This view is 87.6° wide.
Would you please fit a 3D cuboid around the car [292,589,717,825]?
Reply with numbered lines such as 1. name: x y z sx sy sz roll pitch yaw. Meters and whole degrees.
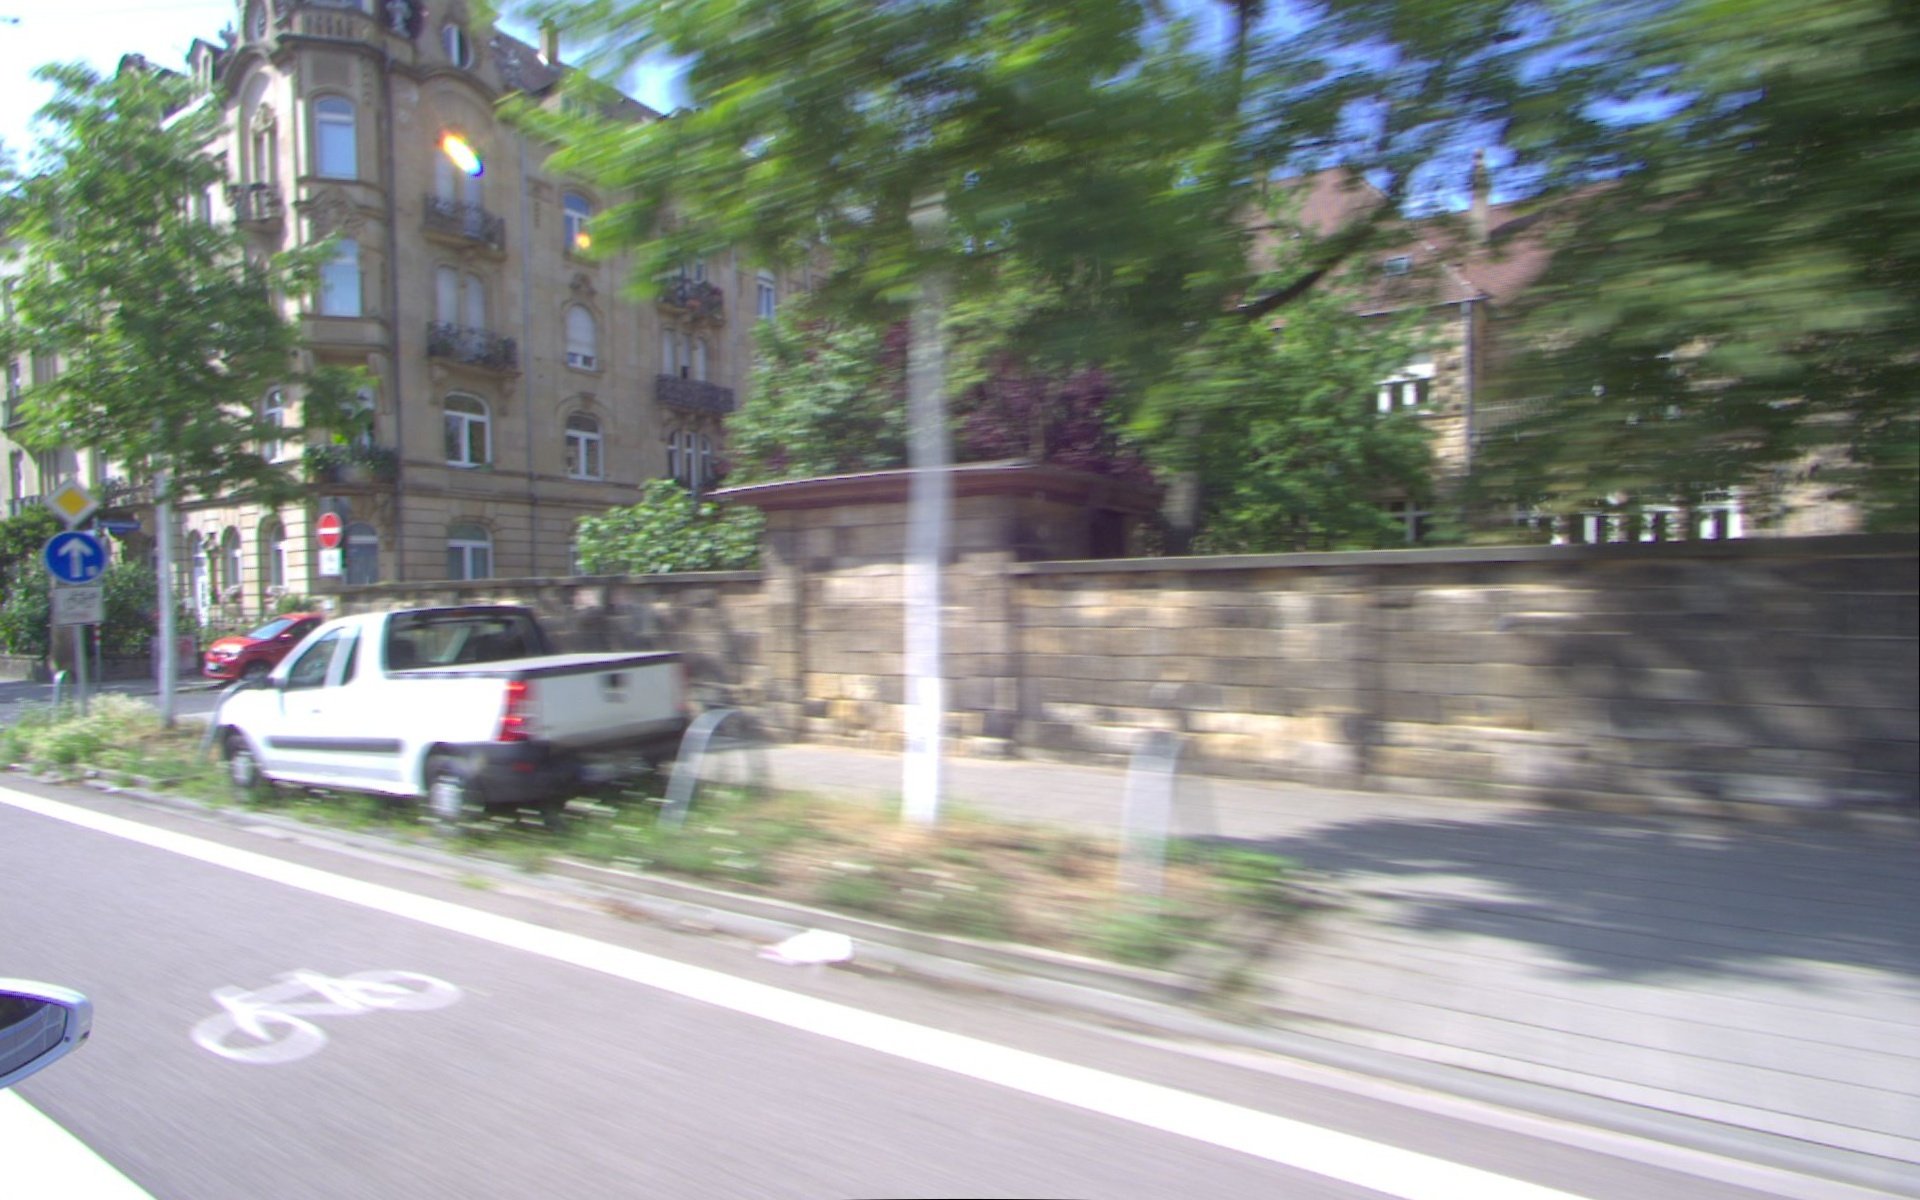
1. car: -3.759 0.674 7.976 3.799 1.435 1.661 0 -1 41

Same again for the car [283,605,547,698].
1. car: -10.570 0.945 19.753 1.732 1.575 4.244 -3 -1 31

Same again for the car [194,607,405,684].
1. car: -15.254 0.987 23.299 1.734 1.576 3.730 0 0 36
